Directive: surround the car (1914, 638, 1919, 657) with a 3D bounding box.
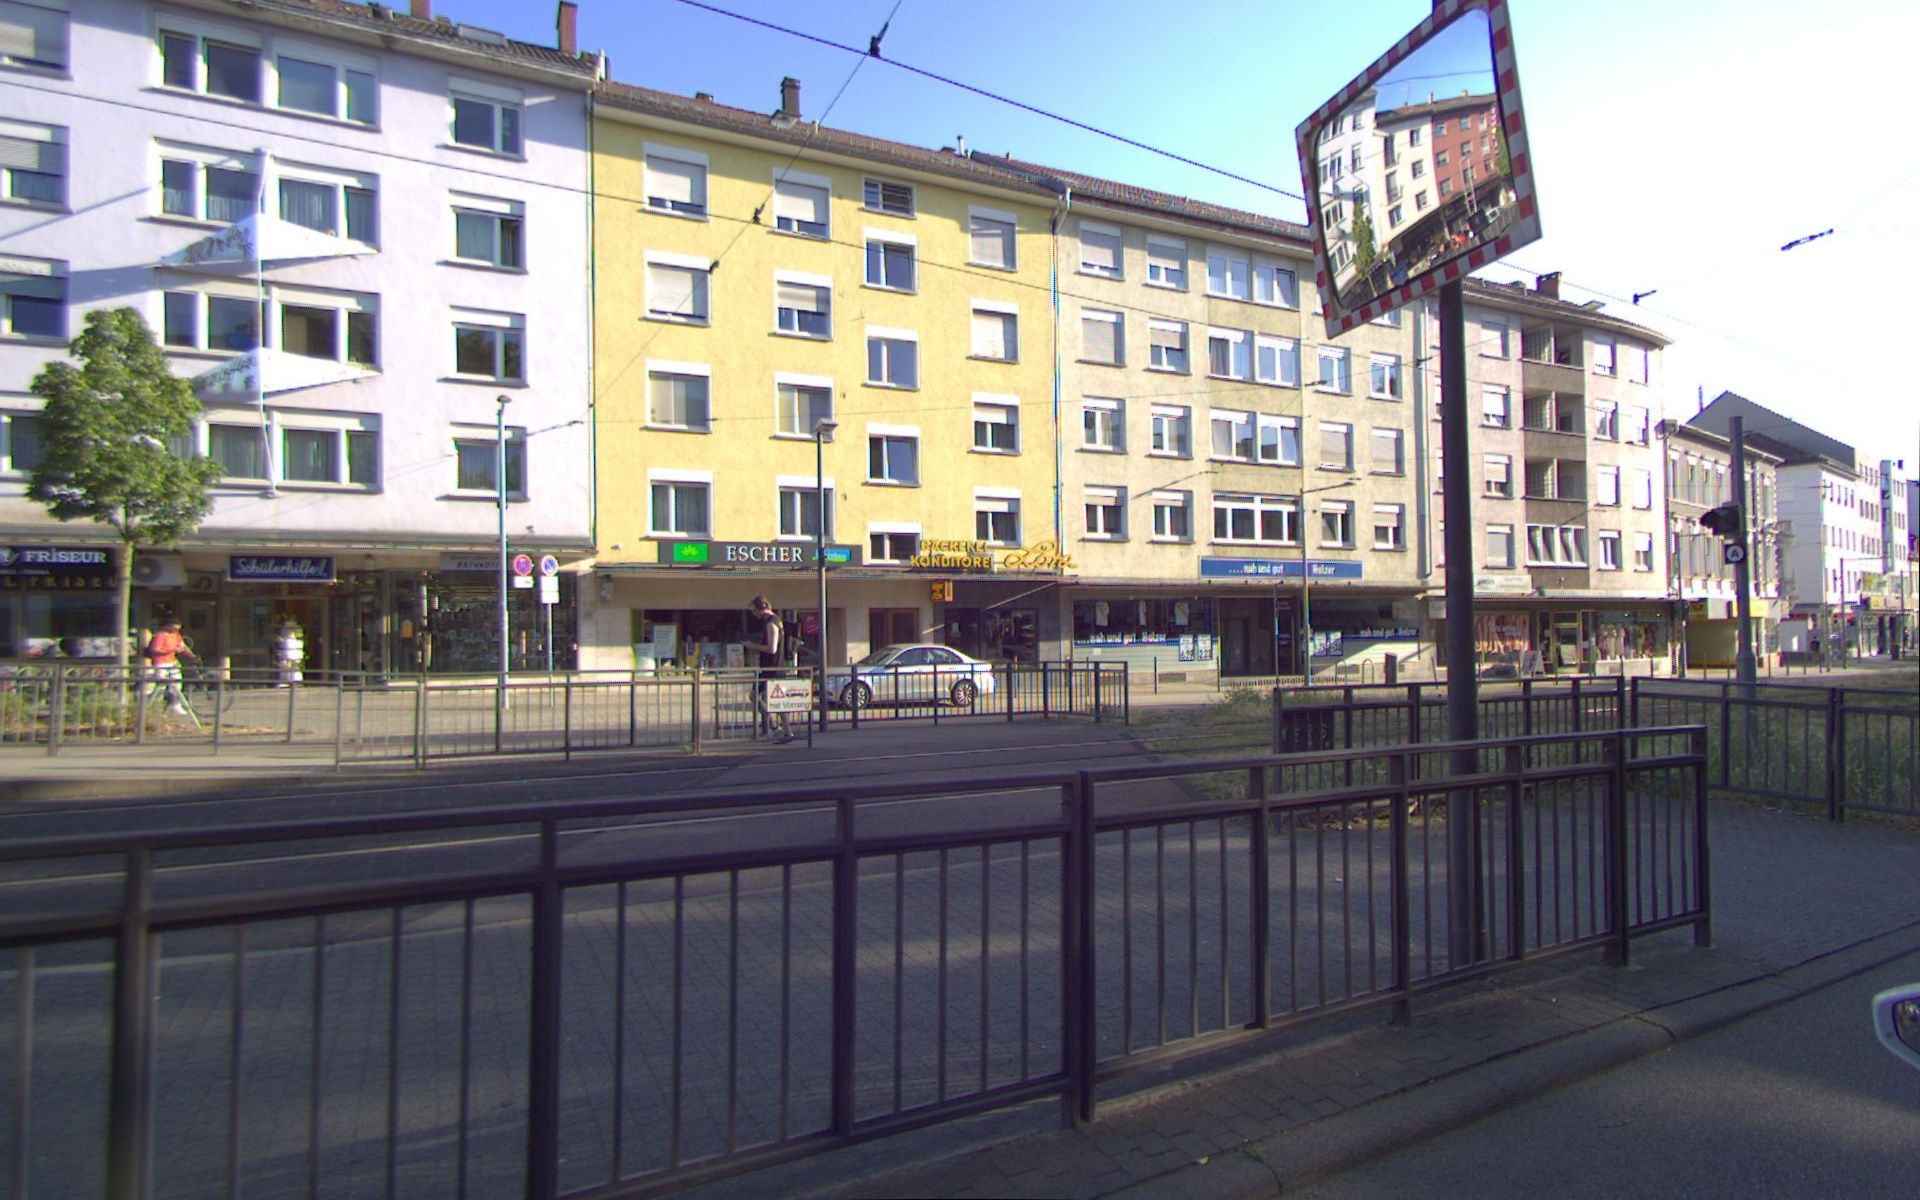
[{"bbox_3d":[74.348,3.587,74.737,4.463,1.431,2.000,-1,-2,21],"label":"car"}]

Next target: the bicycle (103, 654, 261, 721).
[{"bbox_3d":[-14.328,1.597,18.575,2.164,1.174,0.705,1,-2,-19],"label":"bicycle"}]

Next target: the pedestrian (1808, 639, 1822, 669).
[{"bbox_3d":[50.779,3.208,59.656,0.502,1.736,0.424,1,-2,-30],"label":"pedestrian"}]

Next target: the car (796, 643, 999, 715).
[{"bbox_3d":[-1.465,1.791,23.619,4.354,1.498,1.986,1,0,-27],"label":"car"}]

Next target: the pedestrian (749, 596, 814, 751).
[{"bbox_3d":[-2.244,0.900,12.597,0.583,1.873,0.737,1,-2,-32],"label":"pedestrian"}]

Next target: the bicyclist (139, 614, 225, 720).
[{"bbox_3d":[-14.368,1.223,18.580,1.041,1.911,0.692,0,-2,-18],"label":"bicyclist"}]
